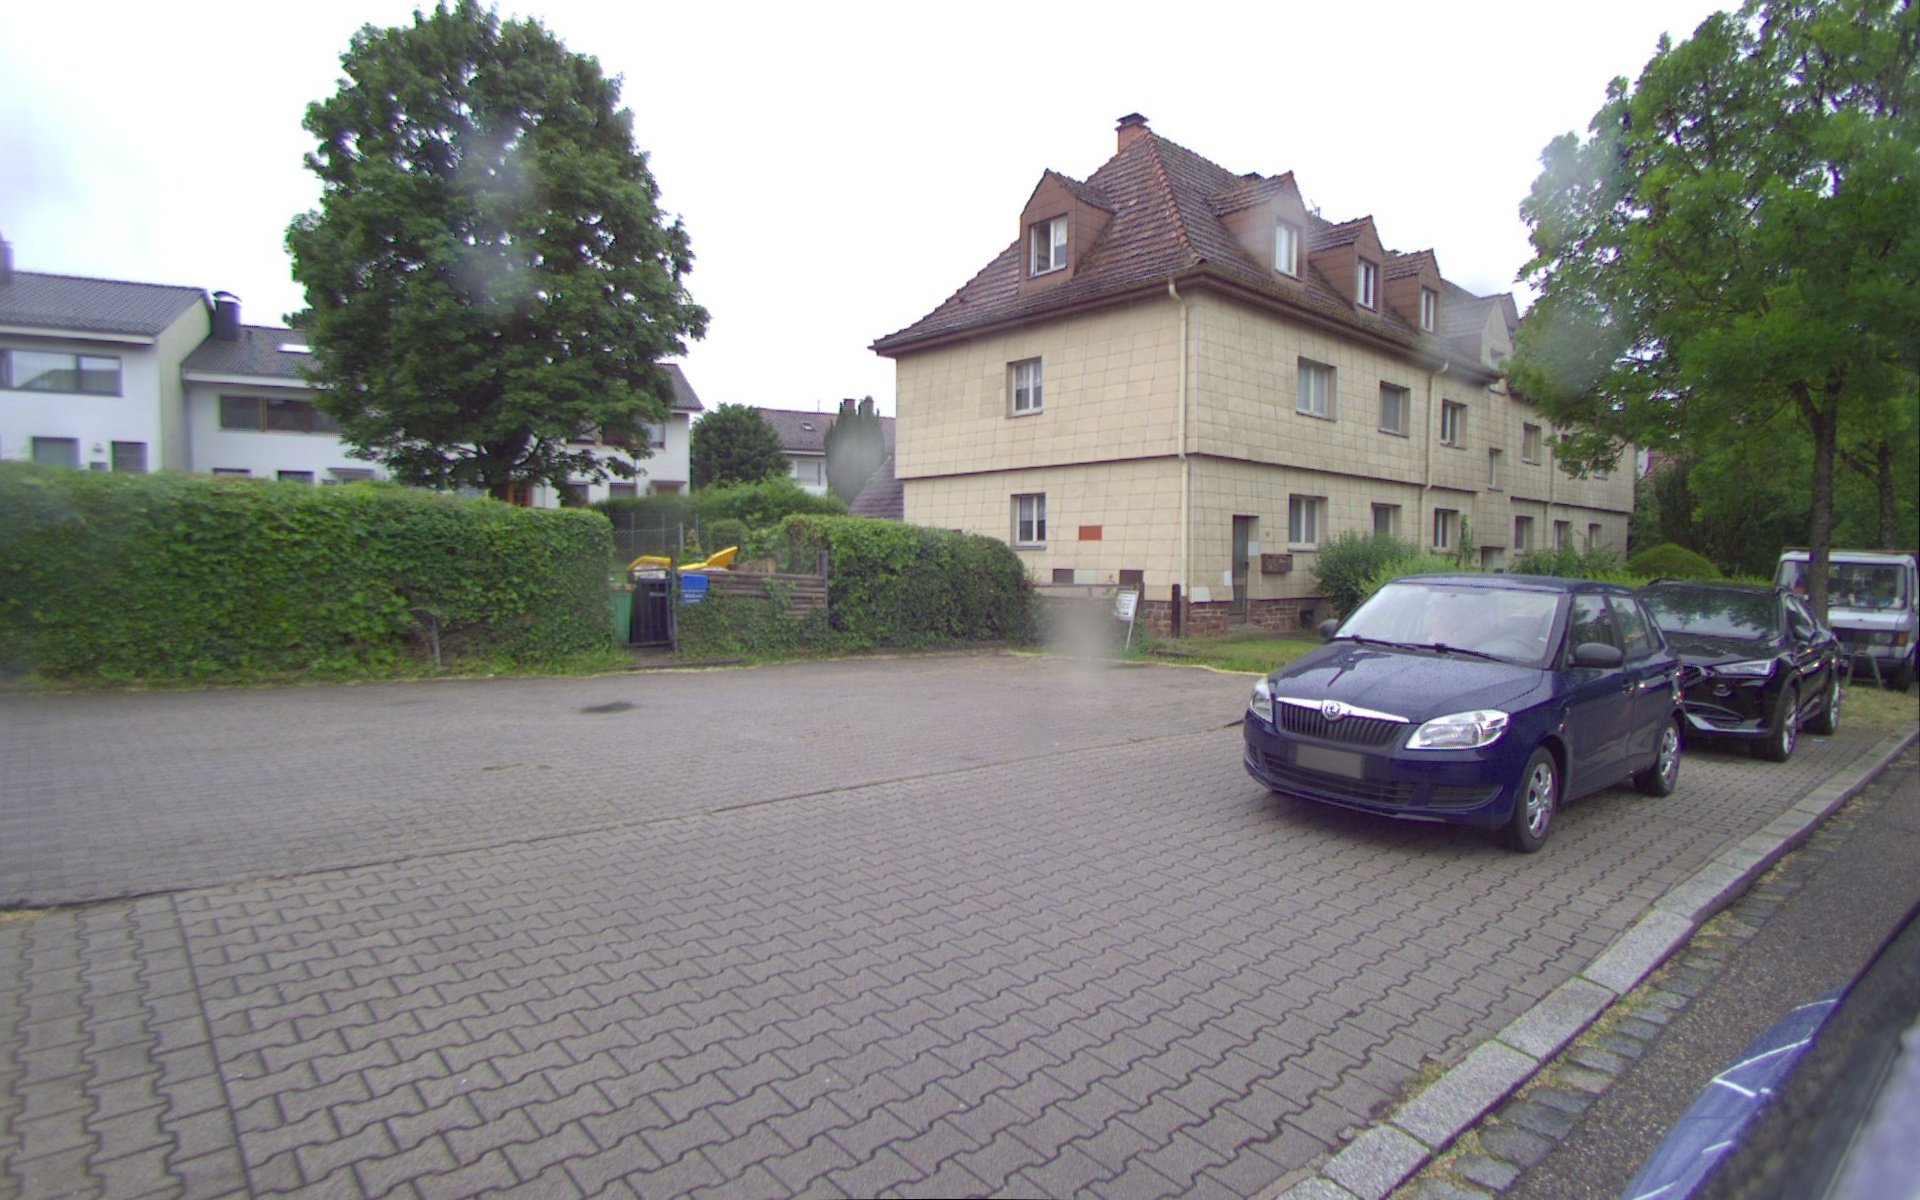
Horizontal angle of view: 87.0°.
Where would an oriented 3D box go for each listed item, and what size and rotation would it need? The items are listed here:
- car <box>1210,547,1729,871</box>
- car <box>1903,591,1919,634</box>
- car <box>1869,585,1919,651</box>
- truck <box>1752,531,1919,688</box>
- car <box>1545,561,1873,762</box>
[{"bbox_3d":[3.457,0.486,6.567,3.788,1.490,1.608,0,3,-40],"label":"car"},{"bbox_3d":[33.431,0.460,34.355,4.424,1.406,1.691,0,4,-43],"label":"car"},{"bbox_3d":[23.897,0.543,25.020,3.951,1.454,1.605,4,2,-42],"label":"car"},{"bbox_3d":[15.897,0.093,17.727,6.392,2.248,2.084,0,4,-43],"label":"truck"},{"bbox_3d":[7.521,0.469,10.017,4.111,1.516,1.718,0,4,-42],"label":"car"}]
